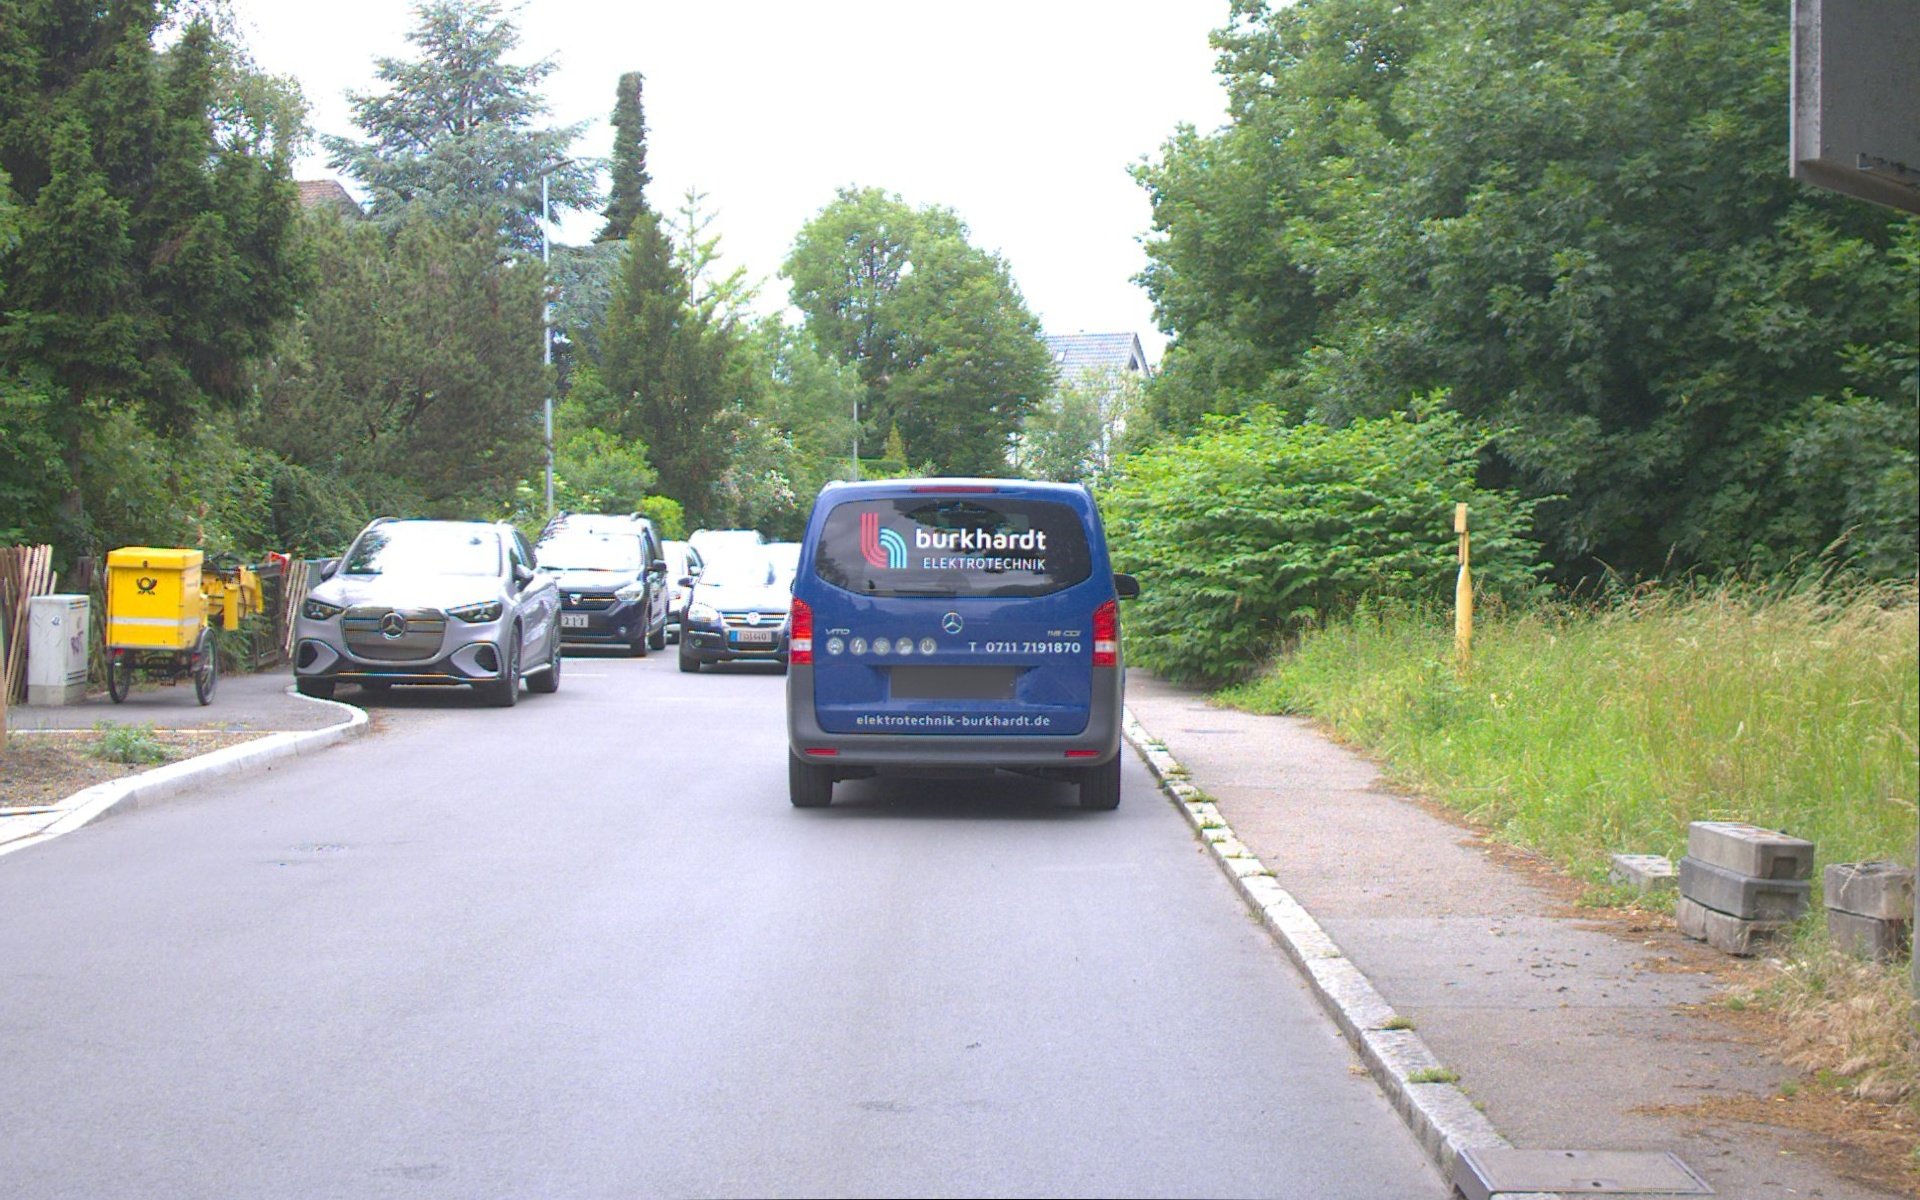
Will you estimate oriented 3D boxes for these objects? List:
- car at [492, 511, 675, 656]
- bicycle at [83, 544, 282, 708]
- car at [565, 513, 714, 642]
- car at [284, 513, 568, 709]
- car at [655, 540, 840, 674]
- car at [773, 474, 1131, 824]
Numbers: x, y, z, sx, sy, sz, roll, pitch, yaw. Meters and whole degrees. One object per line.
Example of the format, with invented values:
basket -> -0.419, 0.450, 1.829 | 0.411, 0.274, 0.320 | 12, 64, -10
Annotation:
car -> -4.789, -0.250, 44.202 | 1.832, 1.745, 4.000 | 1, 1, 1
bicycle -> -6.376, 0.182, 28.382 | 0.906, 1.247, 2.916 | 2, 1, 1
car -> -4.649, -0.330, 50.368 | 1.831, 1.798, 4.000 | 1, 0, -1
car -> -4.776, 0.057, 31.301 | 1.836, 1.625, 4.300 | 1, 1, 1
car -> -2.417, 0.038, 39.939 | 1.819, 1.438, 4.000 | 1, 1, 1
car -> -0.090, 0.189, 20.365 | 1.888, 1.837, 4.001 | 1, 2, -1
